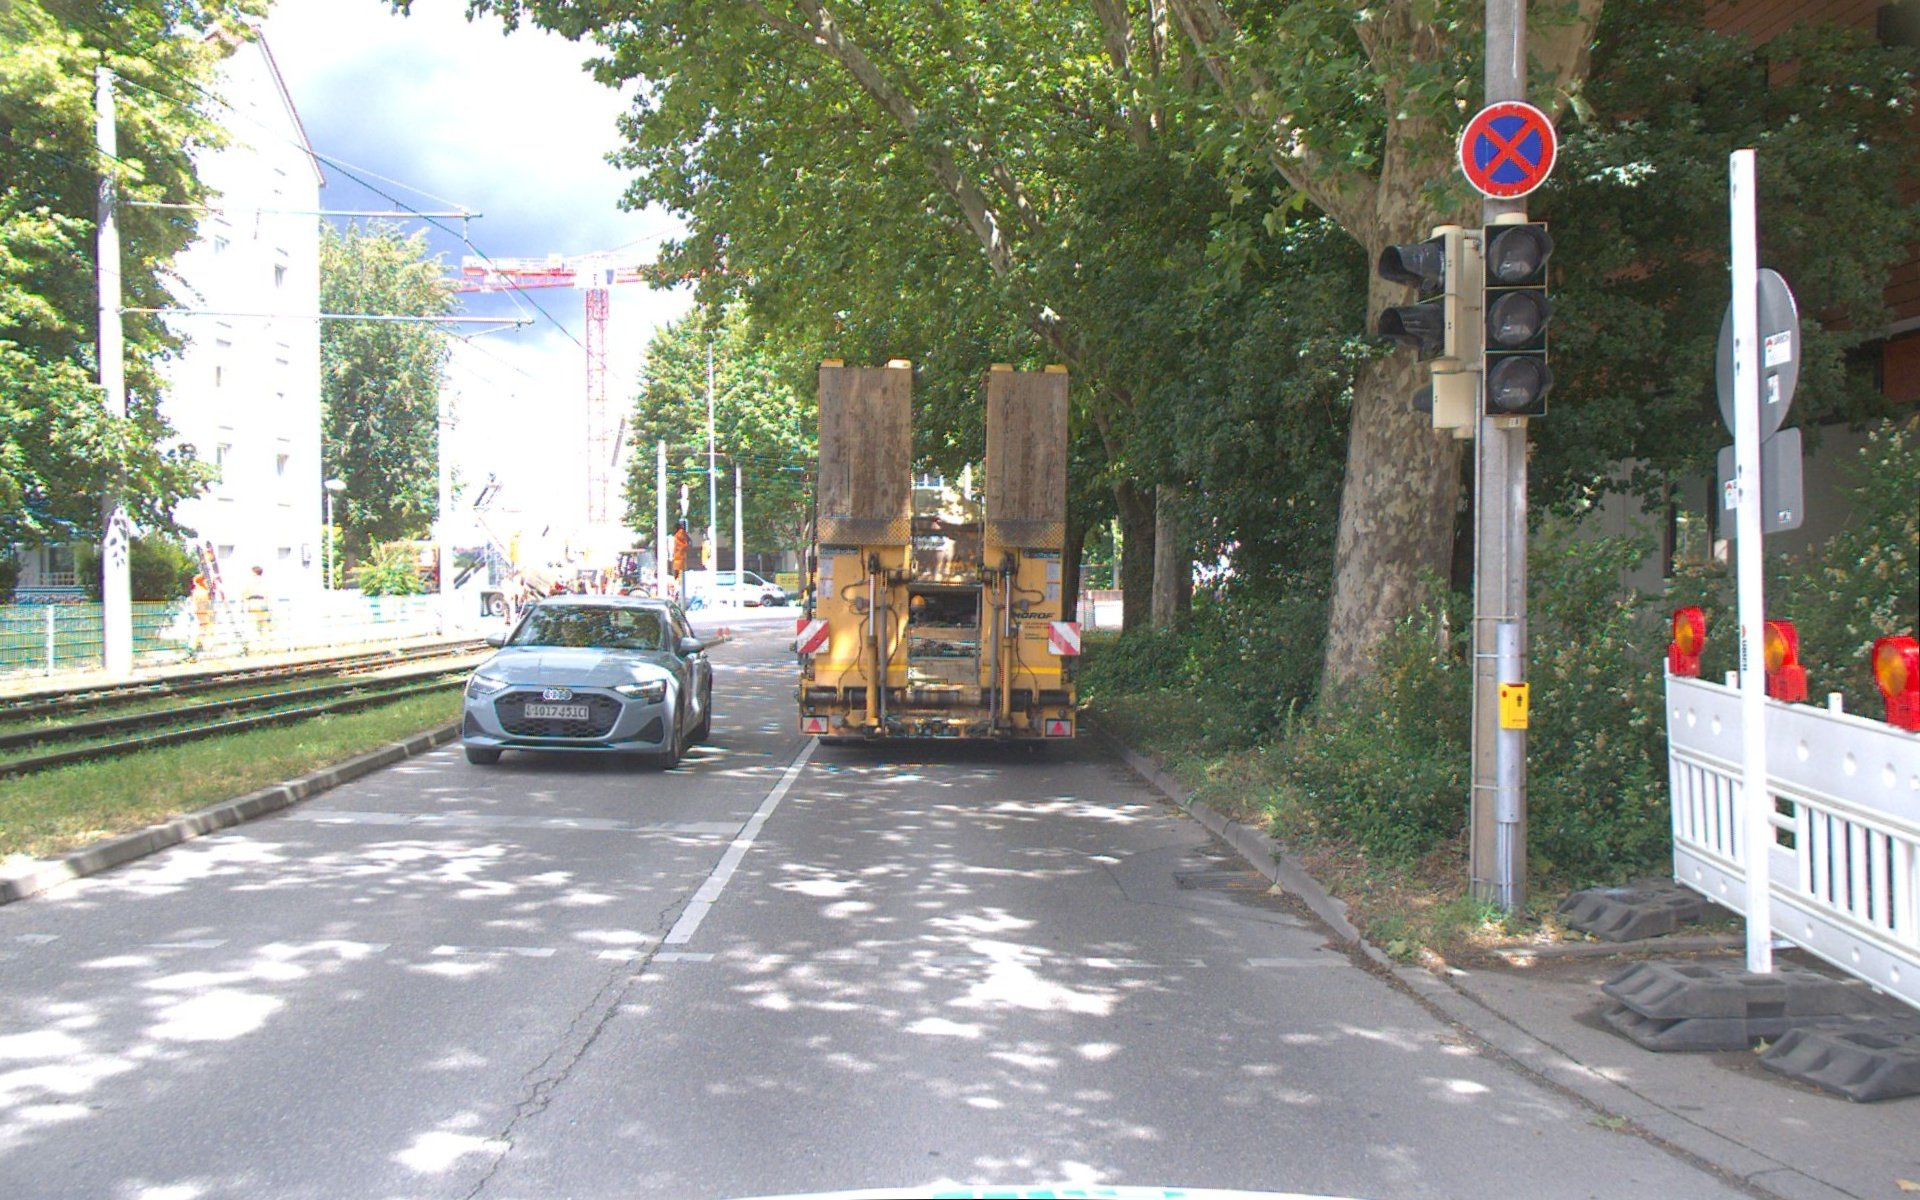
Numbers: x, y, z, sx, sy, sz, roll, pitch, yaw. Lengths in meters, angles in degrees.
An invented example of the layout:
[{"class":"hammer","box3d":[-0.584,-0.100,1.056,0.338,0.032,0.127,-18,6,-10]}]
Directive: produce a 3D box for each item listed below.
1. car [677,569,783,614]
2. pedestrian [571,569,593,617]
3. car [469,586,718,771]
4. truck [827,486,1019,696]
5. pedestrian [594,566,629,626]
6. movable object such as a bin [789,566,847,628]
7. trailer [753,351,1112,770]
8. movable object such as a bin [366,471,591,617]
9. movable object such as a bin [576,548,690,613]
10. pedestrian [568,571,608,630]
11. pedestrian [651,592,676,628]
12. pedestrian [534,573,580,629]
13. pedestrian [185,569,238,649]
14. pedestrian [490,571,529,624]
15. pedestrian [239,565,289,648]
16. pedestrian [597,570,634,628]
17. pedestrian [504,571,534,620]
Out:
[{"class":"car","box3d":[-11.477,-0.412,82.388,5.006,2.139,1.968,0,0,-16]},{"class":"pedestrian","box3d":[-15.197,-0.282,66.463,0.820,1.900,0.885,1,0,-13]},{"class":"car","box3d":[-3.189,0.617,15.059,1.603,1.460,3.849,0,0,-3]},{"class":"truck","box3d":[-0.655,-0.134,29.466,2.929,3.190,7.885,1,0,-1]},{"class":"pedestrian","box3d":[-11.056,-0.127,52.477,0.876,1.900,0.829,1,0,-30]},{"class":"movable object such as a bin","box3d":[-4.846,-0.116,56.571,1.369,2.049,2.558,1,0,9]},{"class":"trailer","box3d":[-0.407,-0.332,19.987,3.091,3.615,11.092,1,0,-2]},{"class":"movable object such as a bin","box3d":[-19.133,-2.145,65.542,9.019,5.509,2.662,1,0,25]},{"class":"movable object such as a bin","box3d":[-13.855,-0.833,70.138,4.280,2.675,2.218,1,0,25]},{"class":"pedestrian","box3d":[-11.566,0.019,51.443,0.867,1.791,0.837,1,0,17]},{"class":"pedestrian","box3d":[-12.028,0.407,67.131,0.898,1.434,0.752,1,0,-4]},{"class":"pedestrian","box3d":[-12.894,0.028,52.940,0.873,1.745,1.103,1,0,44]},{"class":"pedestrian","box3d":[-15.734,0.181,34.773,0.717,1.654,0.867,0,0,-2]},{"class":"pedestrian","box3d":[-14.585,-0.080,53.556,0.822,1.673,0.883,1,0,42]},{"class":"pedestrian","box3d":[-14.852,0.139,35.296,0.685,1.748,0.867,1,0,-2]},{"class":"pedestrian","box3d":[-11.394,-0.047,54.732,0.868,1.900,0.836,1,0,27]},{"class":"pedestrian","box3d":[-15.290,-0.171,57.379,0.874,1.673,0.893,1,0,-24]}]
